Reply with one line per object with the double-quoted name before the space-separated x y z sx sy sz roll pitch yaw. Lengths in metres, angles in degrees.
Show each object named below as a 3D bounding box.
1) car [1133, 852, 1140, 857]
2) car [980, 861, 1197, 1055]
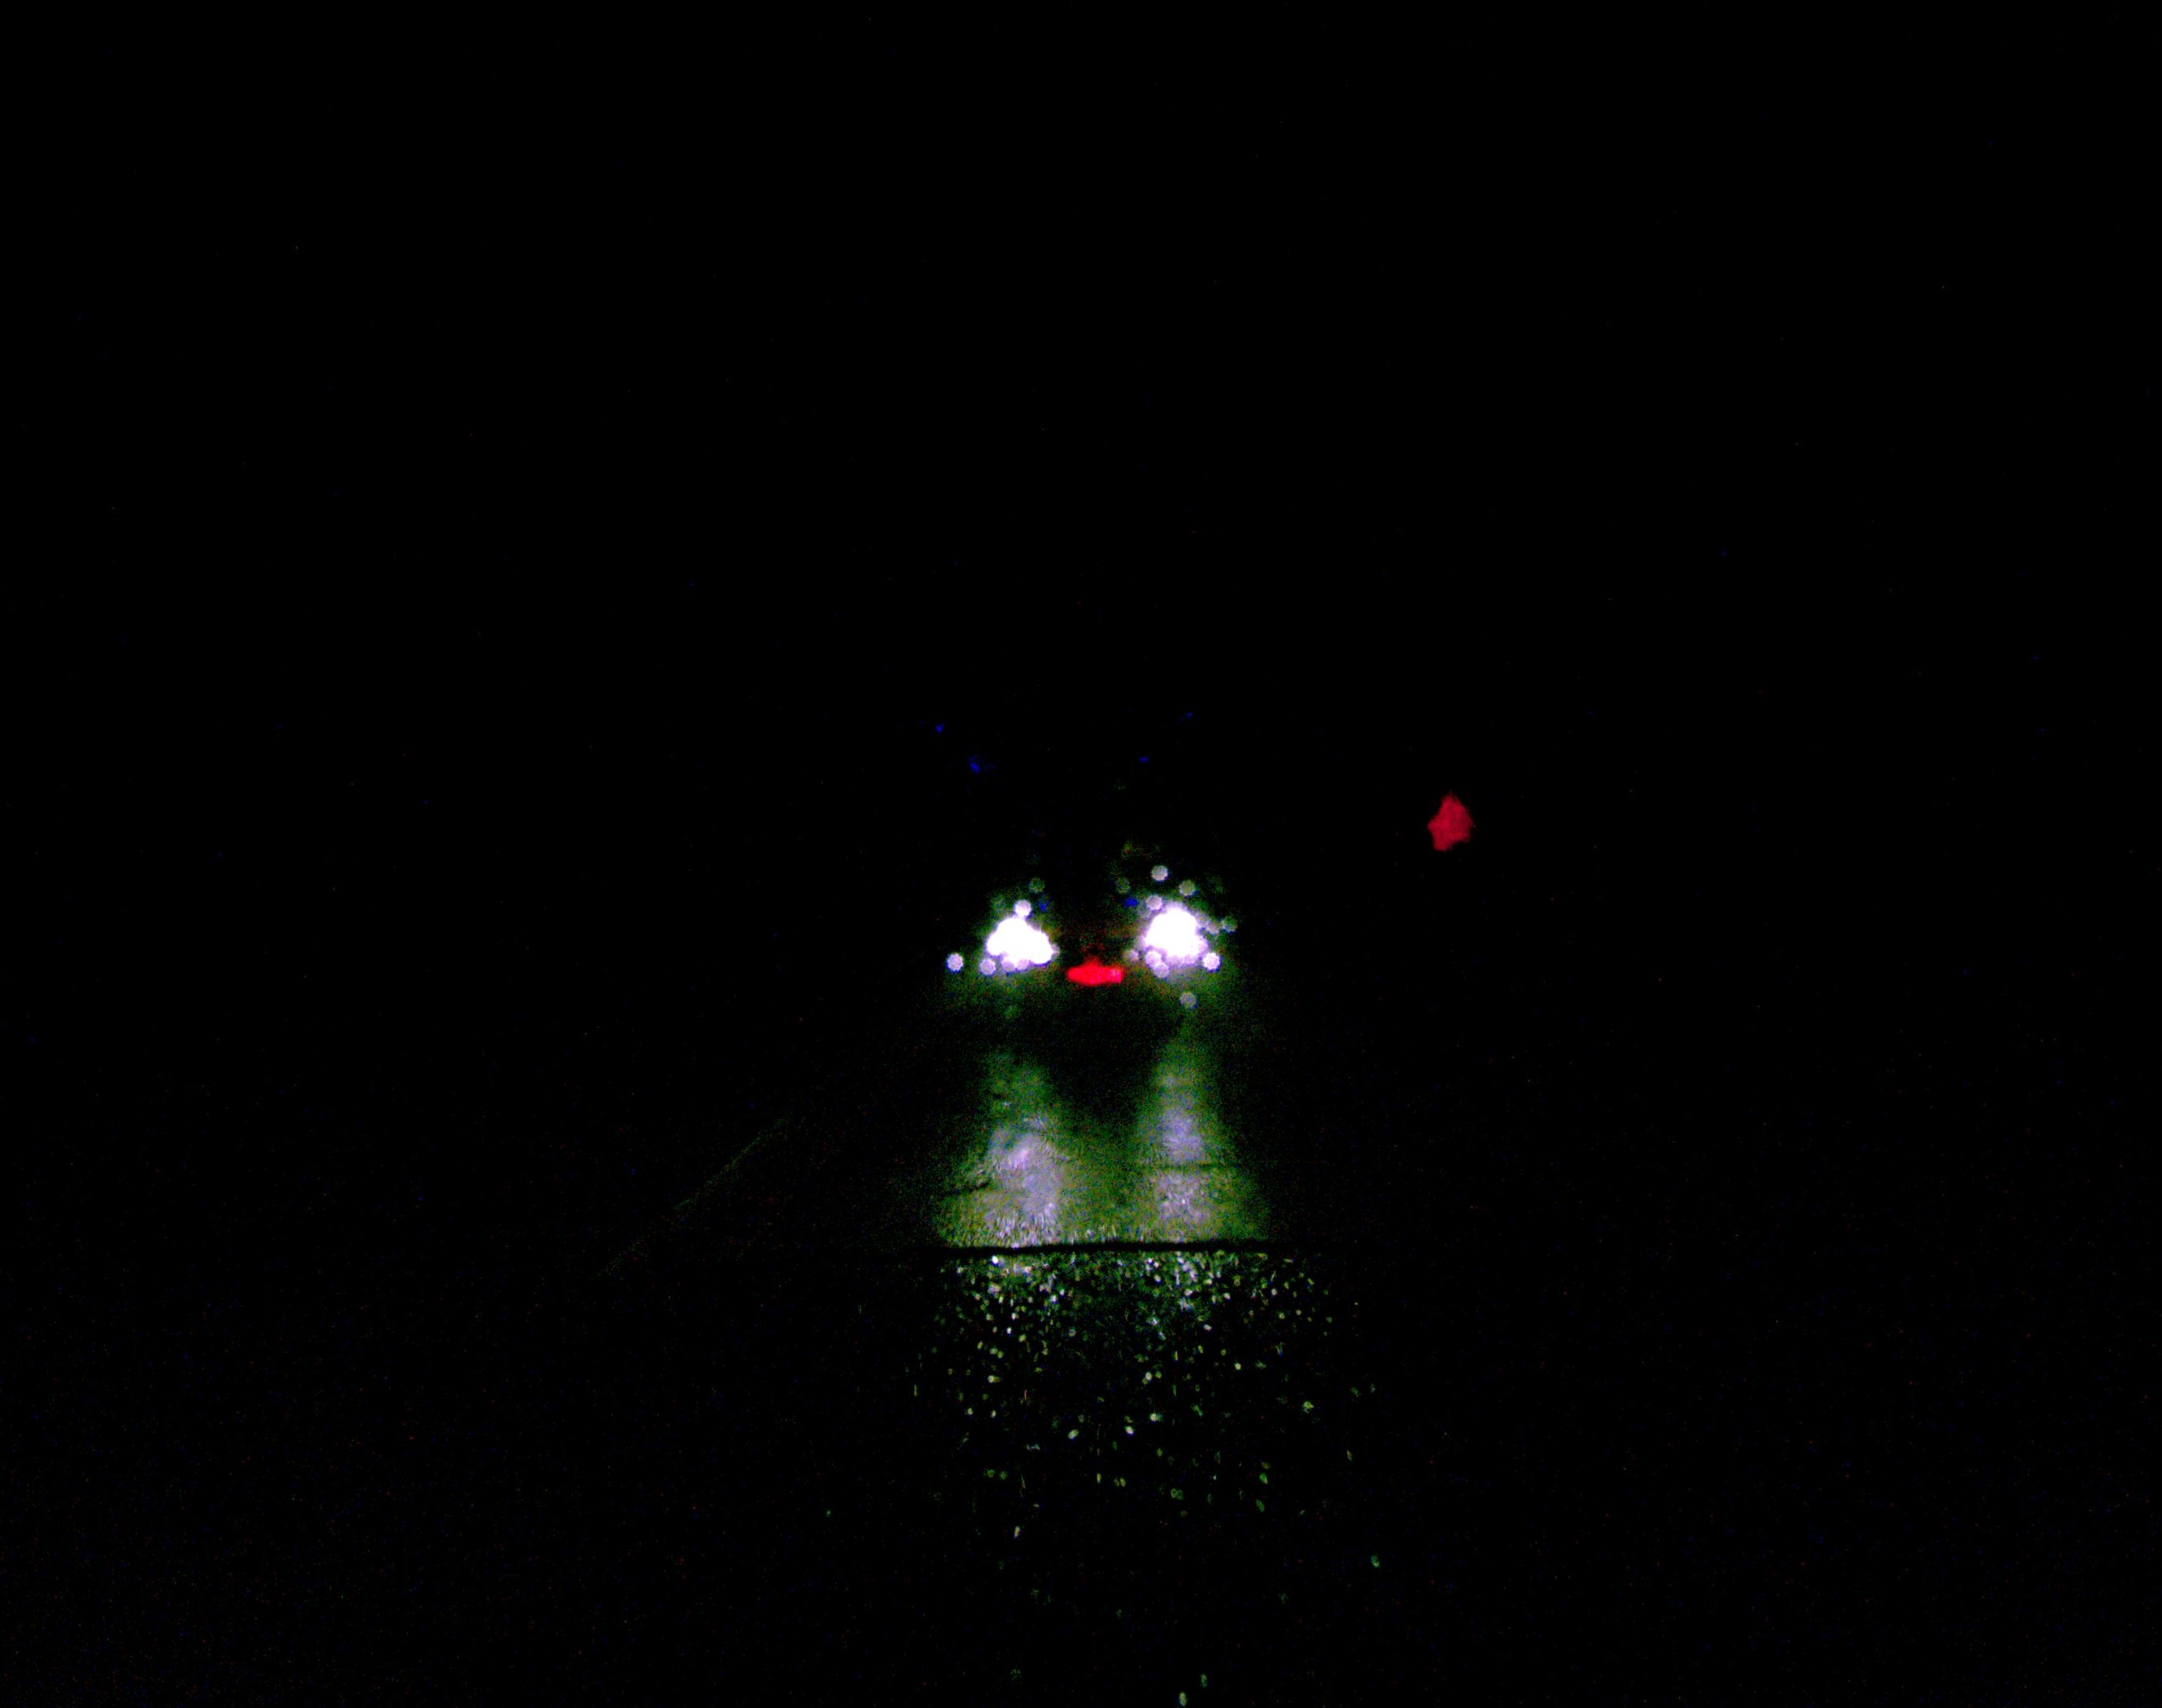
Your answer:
"car" 16.767 0.110 228.849 1.845 1.565 4.000 -2 1 3
"car" 0.162 0.933 8.651 1.845 1.565 4.000 -2 1 3
